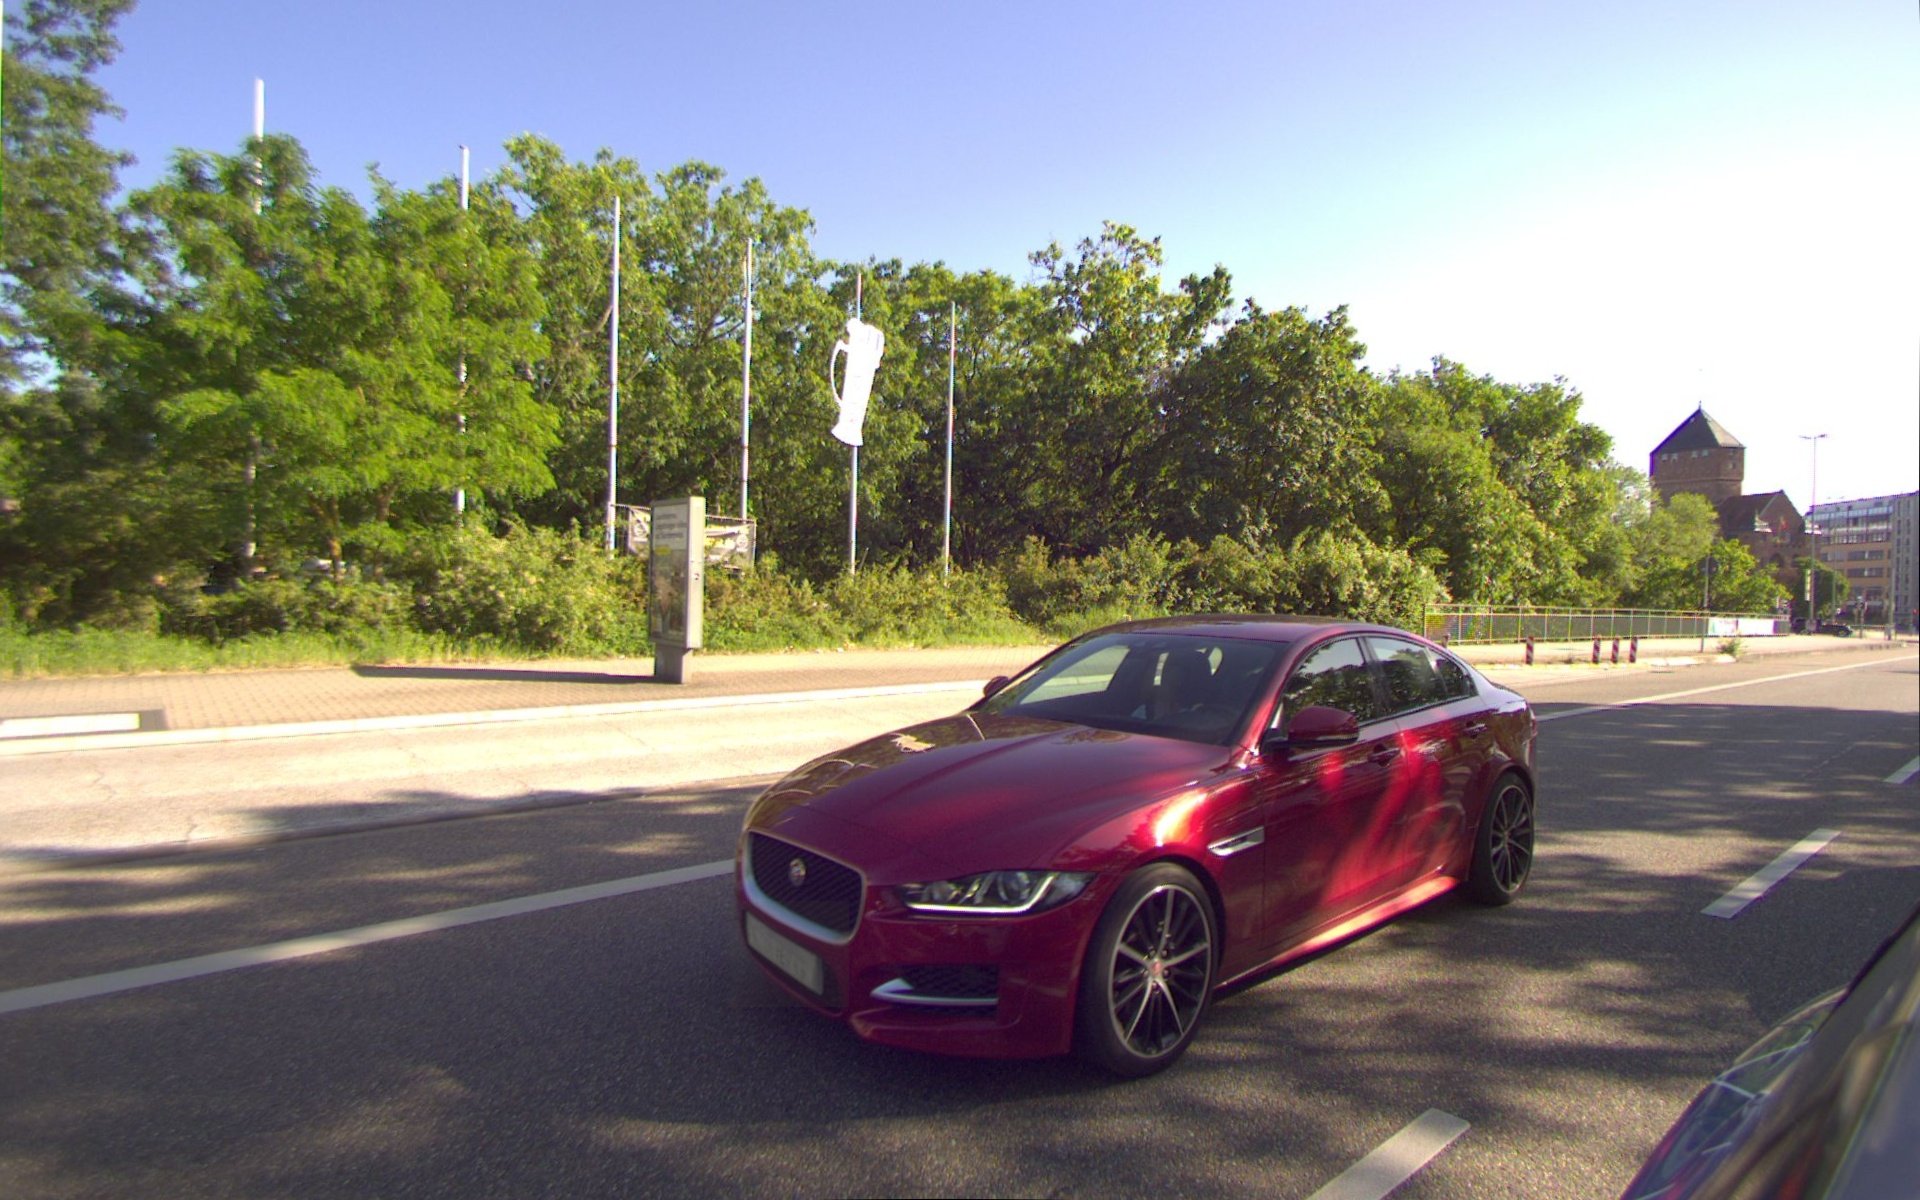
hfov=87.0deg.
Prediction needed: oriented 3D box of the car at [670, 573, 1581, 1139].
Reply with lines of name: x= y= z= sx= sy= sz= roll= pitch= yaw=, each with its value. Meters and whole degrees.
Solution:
car: x=1.088 y=0.667 z=4.729 sx=4.309 sy=1.446 sz=1.890 roll=1 pitch=0 yaw=-41
